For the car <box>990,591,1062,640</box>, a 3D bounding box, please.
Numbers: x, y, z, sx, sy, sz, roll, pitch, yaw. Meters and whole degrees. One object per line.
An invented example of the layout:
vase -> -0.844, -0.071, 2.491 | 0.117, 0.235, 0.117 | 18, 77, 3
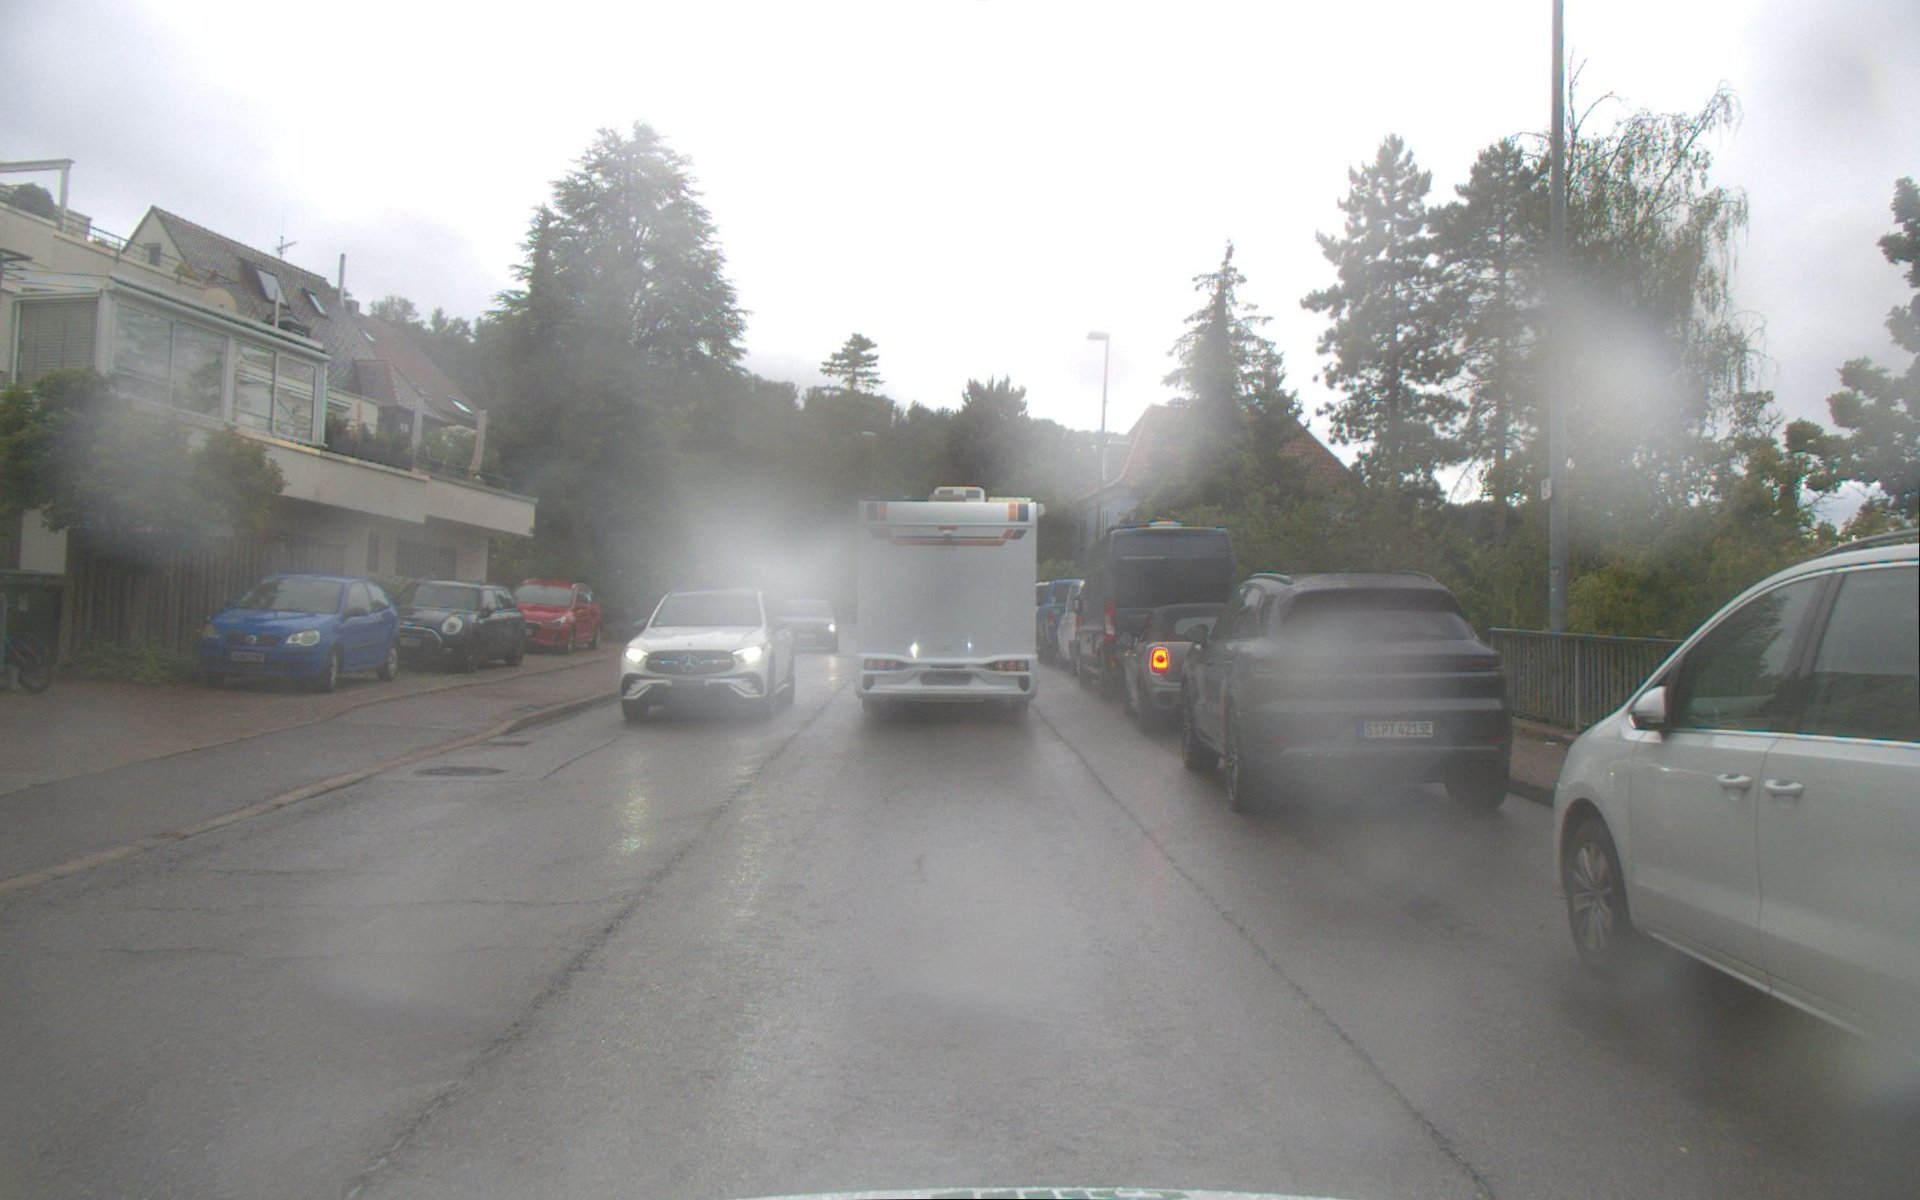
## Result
car -> 2.115, 0.480, 54.253 | 1.654, 1.482, 4.050 | 2, 0, -8

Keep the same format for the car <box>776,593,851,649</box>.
car -> -4.141, 0.578, 47.256 | 1.738, 1.462, 4.361 | -2, 0, -1

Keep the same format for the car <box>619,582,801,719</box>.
car -> -3.202, 0.602, 21.980 | 1.762, 1.594, 4.383 | 1, 0, -1

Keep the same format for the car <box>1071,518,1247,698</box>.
car -> 3.027, 0.108, 26.451 | 1.990, 2.549, 5.954 | 0, 0, -1

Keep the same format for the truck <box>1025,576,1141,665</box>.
truck -> 2.861, 0.457, 40.063 | 2.071, 1.884, 6.616 | 2, 0, -2

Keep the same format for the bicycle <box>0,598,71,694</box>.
bicycle -> -10.914, 0.501, 18.948 | 1.534, 1.024, 0.477 | 3, 0, 28

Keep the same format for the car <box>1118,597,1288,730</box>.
car -> 2.842, 0.694, 19.997 | 1.556, 1.454, 3.798 | 0, 0, 1

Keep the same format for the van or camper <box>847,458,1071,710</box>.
van or camper -> -0.023, -0.111, 22.603 | 2.562, 2.903, 6.029 | 2, -2, 0

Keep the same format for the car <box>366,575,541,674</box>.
car -> -8.449, 0.379, 27.952 | 1.600, 1.420, 4.238 | 5, 0, -1

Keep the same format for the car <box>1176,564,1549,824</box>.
car -> 2.941, 0.614, 13.181 | 1.896, 1.701, 4.695 | 0, 0, 1

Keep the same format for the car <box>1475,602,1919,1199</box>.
car -> 3.453, 0.864, 5.242 | 1.808, 1.713, 5.637 | 0, 0, -1

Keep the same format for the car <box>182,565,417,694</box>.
car -> -8.732, 0.344, 22.222 | 1.575, 1.459, 3.958 | 4, 0, -2

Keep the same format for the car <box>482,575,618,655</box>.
car -> -8.825, 0.300, 35.970 | 1.738, 1.462, 4.587 | 5, 0, -1

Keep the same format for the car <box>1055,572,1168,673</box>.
car -> 2.991, 0.422, 33.667 | 1.790, 1.874, 5.269 | 0, 0, 0

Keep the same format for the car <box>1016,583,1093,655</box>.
car -> 2.739, 0.532, 48.808 | 1.822, 1.955, 5.078 | 2, 0, -1
